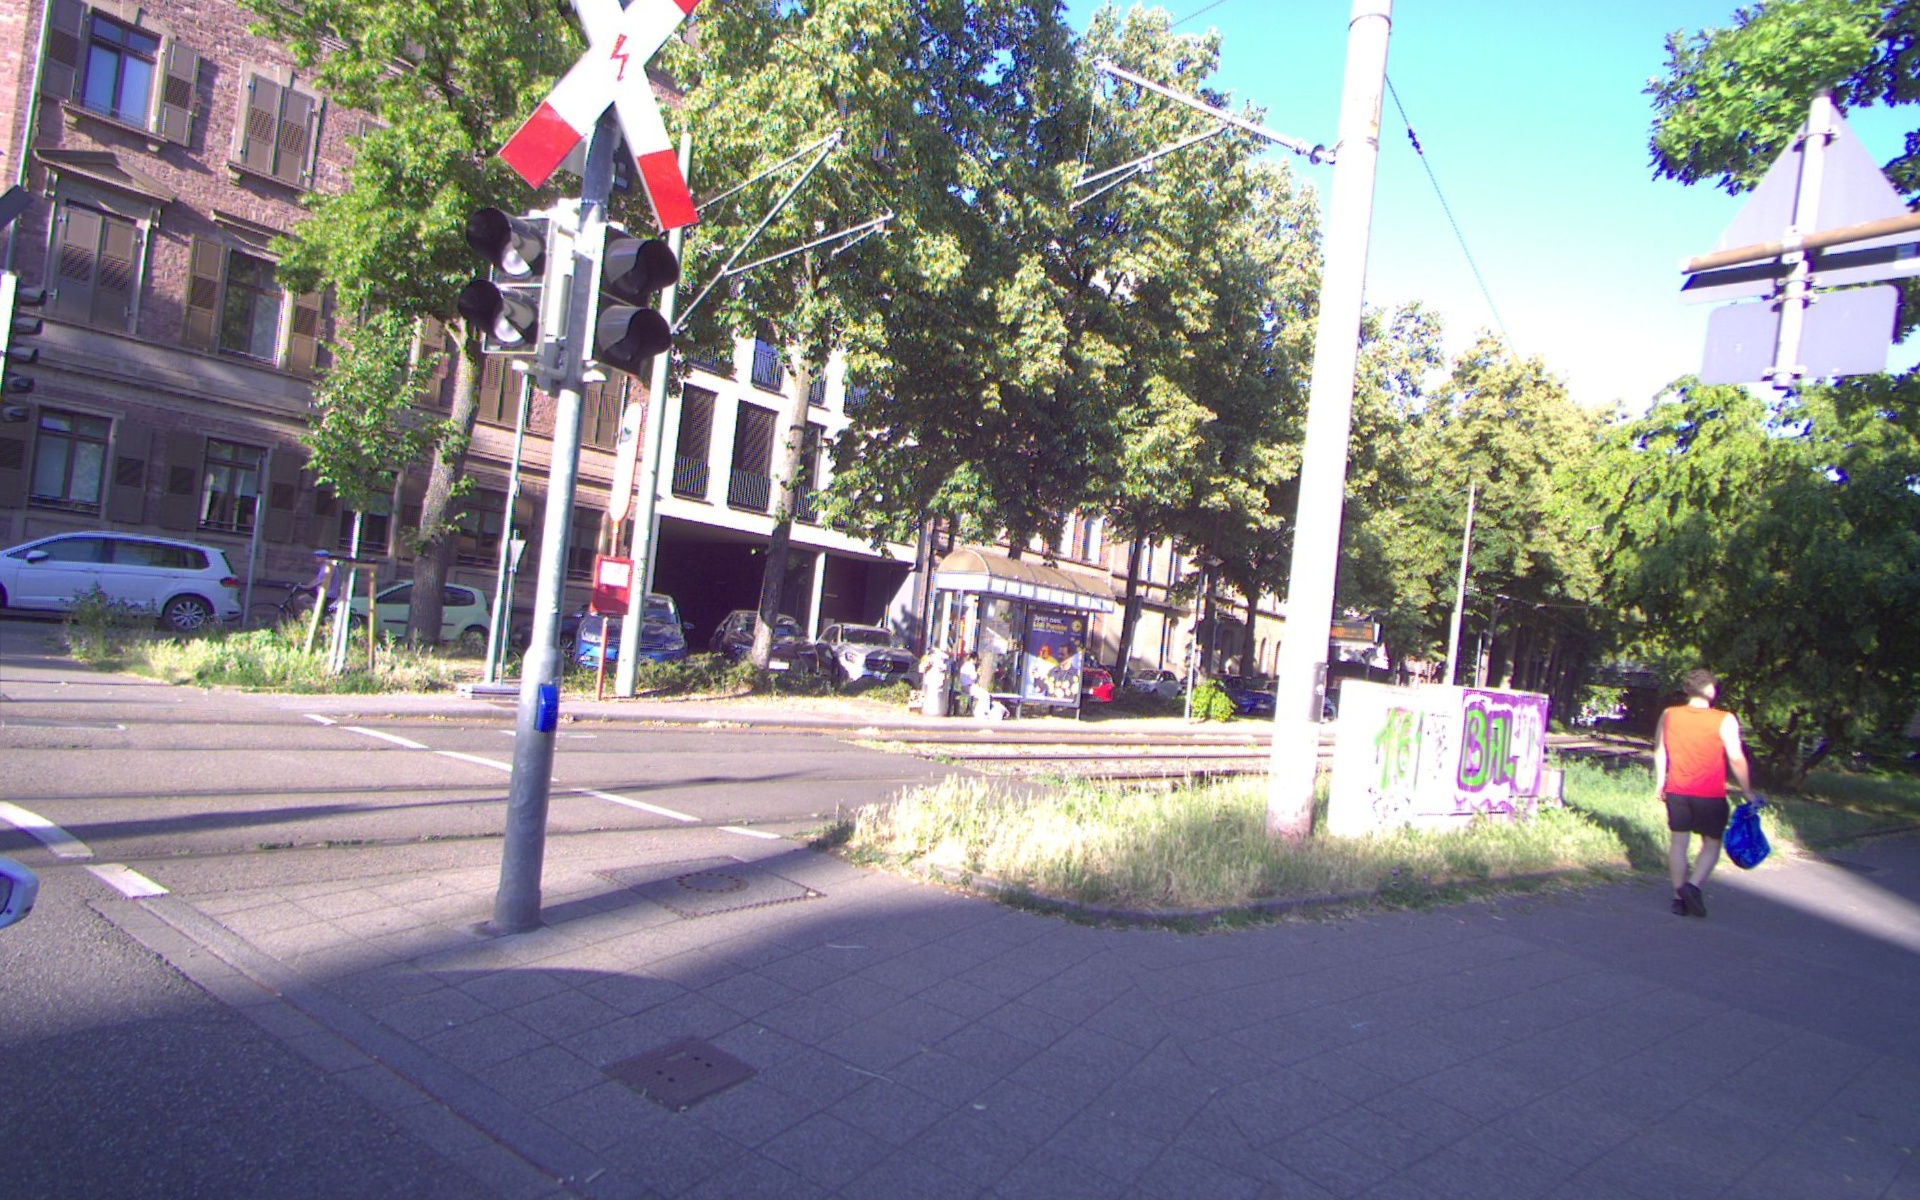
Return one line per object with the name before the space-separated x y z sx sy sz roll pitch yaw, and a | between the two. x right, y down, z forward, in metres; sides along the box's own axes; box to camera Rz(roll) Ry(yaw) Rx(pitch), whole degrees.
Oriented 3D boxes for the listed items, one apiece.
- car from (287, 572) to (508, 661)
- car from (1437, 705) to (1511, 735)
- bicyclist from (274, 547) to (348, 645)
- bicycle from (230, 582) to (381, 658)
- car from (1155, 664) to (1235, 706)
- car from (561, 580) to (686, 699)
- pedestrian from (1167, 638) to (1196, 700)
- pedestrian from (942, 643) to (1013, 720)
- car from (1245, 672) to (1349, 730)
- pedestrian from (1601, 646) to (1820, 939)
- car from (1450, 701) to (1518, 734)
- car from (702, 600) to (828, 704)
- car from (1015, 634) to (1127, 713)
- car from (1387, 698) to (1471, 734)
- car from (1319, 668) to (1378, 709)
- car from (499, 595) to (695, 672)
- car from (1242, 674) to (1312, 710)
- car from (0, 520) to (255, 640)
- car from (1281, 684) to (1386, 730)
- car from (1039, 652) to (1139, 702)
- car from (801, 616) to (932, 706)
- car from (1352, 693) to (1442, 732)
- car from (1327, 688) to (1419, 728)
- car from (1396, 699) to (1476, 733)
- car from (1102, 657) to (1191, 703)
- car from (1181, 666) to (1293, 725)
car | -12.027 0.405 21.657 1.720 1.506 3.708 1 -5 42
car | 31.909 7.437 62.592 1.722 1.294 3.987 7 -2 -17
bicyclist | -11.616 -0.068 18.005 0.868 1.606 0.694 9 -3 -38
bicycle | -11.669 0.370 17.984 2.109 1.065 0.694 10 -4 -39
car | 11.185 4.068 47.701 1.971 1.586 4.227 6 -2 39
car | -6.035 0.704 18.034 1.717 1.706 4.406 7 -4 -19
pedestrian | 10.948 3.418 49.782 0.908 2.982 0.697 5 -1 40
pedestrian | 0.322 1.500 18.516 0.814 1.287 0.872 5 -2 44
car | 13.292 3.970 39.963 1.780 1.715 4.273 7 -2 -13
pedestrian | 5.685 1.407 7.621 1.141 1.941 0.896 7 -1 -38
car | 38.305 8.588 73.675 1.730 1.787 3.970 8 -2 -30
car | -4.062 0.956 20.370 1.901 1.653 4.539 7 -2 -17
car | 2.977 1.973 27.991 1.896 1.742 4.549 7 -2 -7
car | 24.912 6.137 53.561 1.722 1.294 3.987 7 -2 -17
car | 24.938 5.716 64.448 1.972 2.198 4.595 6 -2 40
car | -8.881 0.862 24.856 1.721 1.506 4.143 1 -6 44
car | 17.503 5.069 55.389 1.972 1.586 4.595 6 -2 40
car | -15.440 -0.337 17.815 1.852 1.667 4.475 1 -6 44
car | 15.336 4.380 41.592 1.782 1.294 4.270 7 -2 -16
car | 5.264 3.138 40.742 1.971 1.586 4.227 6 -2 39
car | -2.187 1.262 22.213 1.901 1.504 4.539 7 -2 -17
car | 20.971 5.402 48.447 1.722 1.294 3.987 7 -2 -17
car | 19.070 4.986 46.647 1.722 1.294 3.987 7 -2 -17
car | 26.536 6.466 56.190 1.722 1.294 3.987 7 -2 -17
car | 8.303 3.565 44.443 1.971 1.586 4.227 6 -2 39
car | 9.557 3.268 35.040 1.780 1.504 4.273 7 -2 -13
